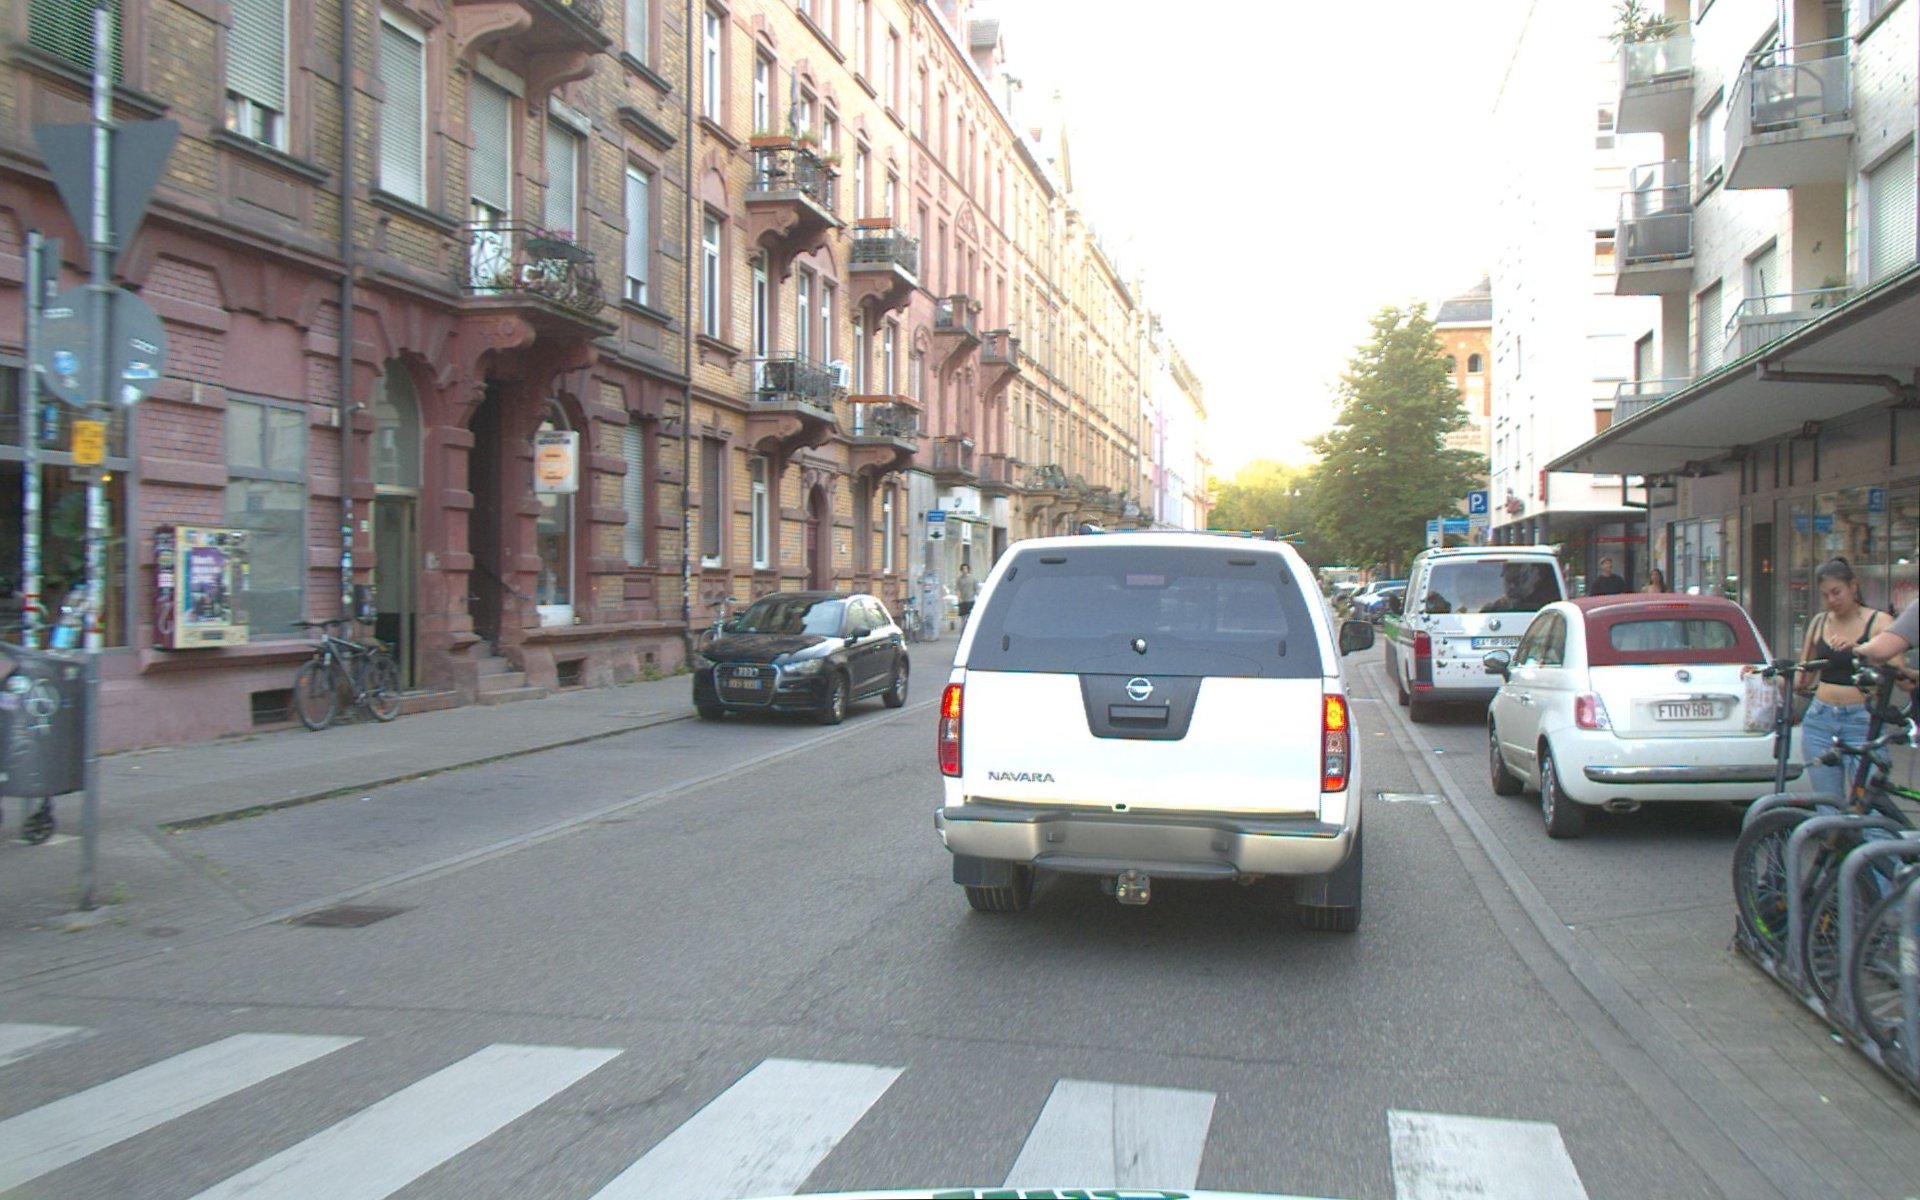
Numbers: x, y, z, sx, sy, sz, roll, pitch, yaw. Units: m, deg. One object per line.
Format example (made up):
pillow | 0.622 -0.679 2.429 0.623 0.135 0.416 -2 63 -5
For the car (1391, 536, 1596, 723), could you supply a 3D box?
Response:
car | 6.482 0.293 20.601 1.917 2.008 5.007 -2 1 13

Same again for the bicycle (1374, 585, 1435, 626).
bicycle | 14.472 0.172 53.861 1.830 1.203 0.743 -4 -1 17

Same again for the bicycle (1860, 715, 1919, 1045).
bicycle | 3.768 0.892 5.309 1.448 1.019 0.511 -2 -1 19

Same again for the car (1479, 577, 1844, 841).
car | 4.660 0.641 11.467 1.558 1.527 3.426 -2 0 10

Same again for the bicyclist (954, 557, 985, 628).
bicyclist | 0.239 -0.180 41.852 0.694 1.760 0.842 1 -1 -3

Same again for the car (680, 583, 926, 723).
car | -1.738 0.543 19.626 1.657 1.445 3.857 1 1 15

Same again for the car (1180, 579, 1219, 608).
car | 12.517 -0.328 86.205 1.699 1.443 4.783 2 0 12

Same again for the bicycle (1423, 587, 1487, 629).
bicycle | 14.541 0.233 48.633 1.687 1.151 0.579 -2 -1 1

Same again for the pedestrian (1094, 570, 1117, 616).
pedestrian | 5.811 -0.272 66.149 0.543 1.786 1.020 0 -1 29

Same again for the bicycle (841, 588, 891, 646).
bicycle | -1.948 0.333 34.591 0.537 1.143 1.761 3 2 13

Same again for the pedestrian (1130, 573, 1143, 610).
pedestrian | 8.995 -0.433 84.270 0.567 1.802 0.998 3 2 8

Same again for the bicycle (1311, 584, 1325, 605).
bicycle | 18.671 -0.294 86.380 0.631 1.100 1.834 -1 0 10

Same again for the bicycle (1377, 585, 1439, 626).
bicycle | 14.358 0.165 53.022 1.752 1.203 0.734 -4 -1 23

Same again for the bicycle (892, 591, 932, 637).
bicycle | -1.133 0.316 39.277 0.440 1.040 1.849 4 1 13

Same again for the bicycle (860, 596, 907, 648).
bicycle | -1.647 0.462 35.963 0.537 1.055 1.761 3 2 13

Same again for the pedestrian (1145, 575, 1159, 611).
pedestrian | 9.767 -0.357 84.265 0.592 1.803 0.778 3 2 8

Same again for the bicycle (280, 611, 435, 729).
bicycle | -5.967 0.660 16.484 0.416 1.071 1.899 1 1 16

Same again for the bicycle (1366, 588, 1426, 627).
bicycle | 13.245 0.233 50.243 1.685 1.137 0.707 -2 -1 11

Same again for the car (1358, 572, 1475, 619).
car | 17.984 -0.176 65.299 4.305 1.676 1.748 -2 0 12

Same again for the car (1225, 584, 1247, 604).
car | 22.077 -0.485 132.180 1.662 1.451 4.025 2 1 10

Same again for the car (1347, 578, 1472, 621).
car | 16.998 -0.027 62.685 4.329 1.481 1.781 -2 0 6

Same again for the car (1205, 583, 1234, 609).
car | 16.410 -0.263 104.520 1.601 1.592 3.785 1 1 11

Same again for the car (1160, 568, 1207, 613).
car | 10.461 -0.438 77.108 1.951 1.957 4.956 2 1 10

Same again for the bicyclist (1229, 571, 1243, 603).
bicyclist | 14.497 -0.697 86.813 0.631 1.649 0.919 -1 0 5

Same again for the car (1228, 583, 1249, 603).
car | 23.275 -0.620 137.994 1.662 1.579 4.025 2 1 10

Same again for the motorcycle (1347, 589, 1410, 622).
motorcycle | 14.908 0.195 58.945 2.016 1.097 0.663 -2 0 -3

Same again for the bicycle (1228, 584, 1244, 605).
bicycle | 14.501 -0.289 86.803 0.631 1.100 2.170 -2 0 5

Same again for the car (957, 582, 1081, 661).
car | 1.269 0.389 33.453 1.686 1.445 4.586 1 1 12

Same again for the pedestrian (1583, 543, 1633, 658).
pedestrian | 10.716 0.007 27.374 0.693 1.860 0.861 -1 -1 19

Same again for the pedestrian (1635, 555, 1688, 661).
pedestrian | 11.421 0.130 26.958 0.694 1.695 0.745 -1 -1 19

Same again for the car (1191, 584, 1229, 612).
car | 14.370 -0.121 94.998 1.795 1.483 4.210 3 1 12

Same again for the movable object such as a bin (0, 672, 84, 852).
movable object such as a bin | -5.481 0.886 9.220 0.745 0.932 0.730 1 -1 9

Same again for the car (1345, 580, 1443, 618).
car | 18.462 -0.053 70.495 3.902 1.481 1.830 -2 0 10

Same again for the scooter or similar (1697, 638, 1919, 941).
scooter or similar | 3.888 0.807 7.494 1.152 1.191 0.530 -3 2 -39

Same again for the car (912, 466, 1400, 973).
car | 1.311 0.445 8.938 1.870 1.885 5.275 0 0 13

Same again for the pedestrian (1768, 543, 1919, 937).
pedestrian | 4.033 0.574 7.259 0.638 1.628 0.586 -1 0 -28

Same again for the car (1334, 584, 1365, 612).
car | 22.366 -0.126 95.003 1.640 1.454 4.482 -4 0 13

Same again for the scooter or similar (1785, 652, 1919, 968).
scooter or similar | 4.035 0.821 6.677 1.135 1.191 0.537 -1 2 5

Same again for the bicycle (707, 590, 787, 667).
bicycle | -3.493 0.451 27.305 0.516 1.191 2.049 2 1 15

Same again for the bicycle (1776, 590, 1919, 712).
bicycle | 9.631 0.523 17.703 0.891 1.216 1.711 -2 0 -1

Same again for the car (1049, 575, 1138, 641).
car | 3.683 0.170 45.025 1.813 1.662 4.450 1 1 12

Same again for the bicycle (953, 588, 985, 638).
bicycle | 0.230 0.328 41.818 0.694 1.217 1.740 1 0 -3

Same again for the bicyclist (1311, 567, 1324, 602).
bicyclist | 18.650 -0.829 86.313 0.631 1.791 0.648 -1 0 10

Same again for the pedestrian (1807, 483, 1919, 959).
pedestrian | 3.873 0.448 6.461 0.725 1.787 0.658 -1 0 -23
